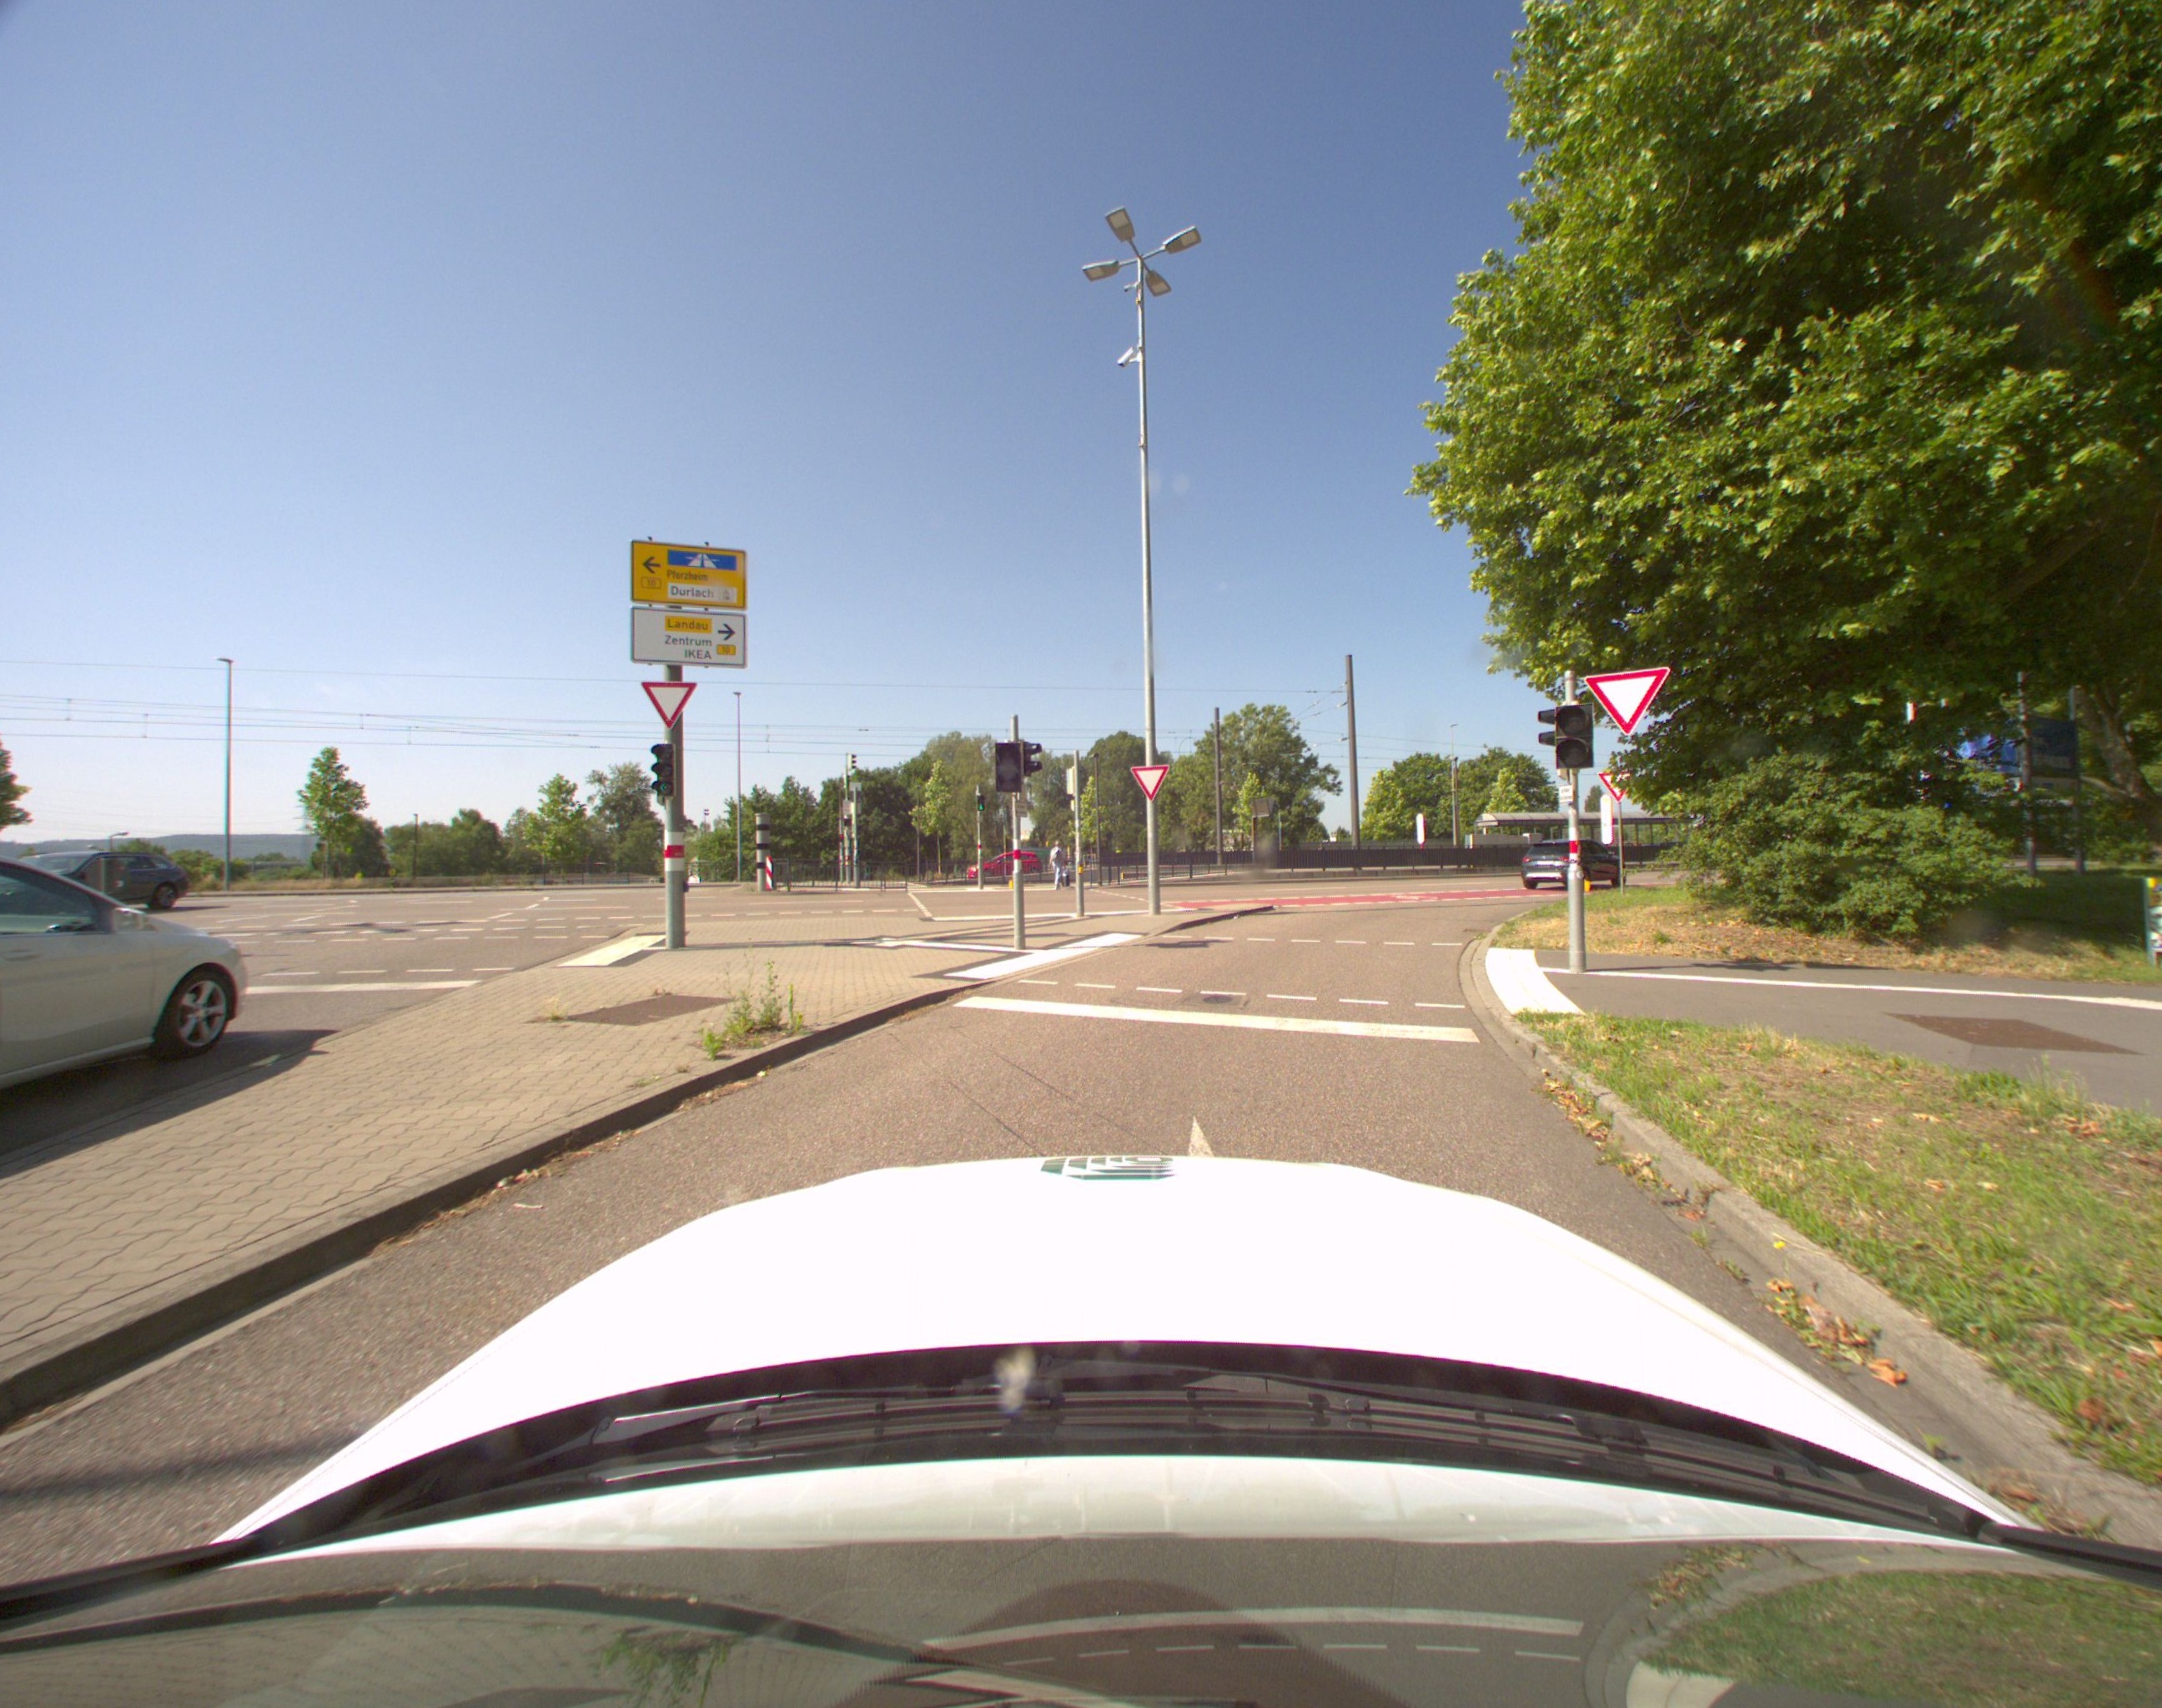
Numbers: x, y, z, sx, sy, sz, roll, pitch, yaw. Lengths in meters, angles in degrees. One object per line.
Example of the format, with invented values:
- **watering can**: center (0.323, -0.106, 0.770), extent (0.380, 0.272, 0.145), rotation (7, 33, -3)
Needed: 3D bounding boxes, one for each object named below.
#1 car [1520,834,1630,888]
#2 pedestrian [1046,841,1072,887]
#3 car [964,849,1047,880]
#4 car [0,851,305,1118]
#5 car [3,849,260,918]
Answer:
- **car**: center (15.107, 0.187, 24.861), extent (3.391, 1.523, 1.657), rotation (-1, 0, -35)
- **pedestrian**: center (-0.756, 0.337, 27.685), extent (0.771, 1.510, 1.006), rotation (-2, 1, -5)
- **car**: center (-3.973, 0.528, 42.750), extent (3.999, 1.445, 1.736), rotation (-1, 1, -19)
- **car**: center (-6.791, 0.715, 4.514), extent (1.745, 1.448, 4.365), rotation (-1, 0, -16)
- **car**: center (-24.300, 0.662, 21.196), extent (2.064, 1.503, 4.786), rotation (-1, 1, -17)
